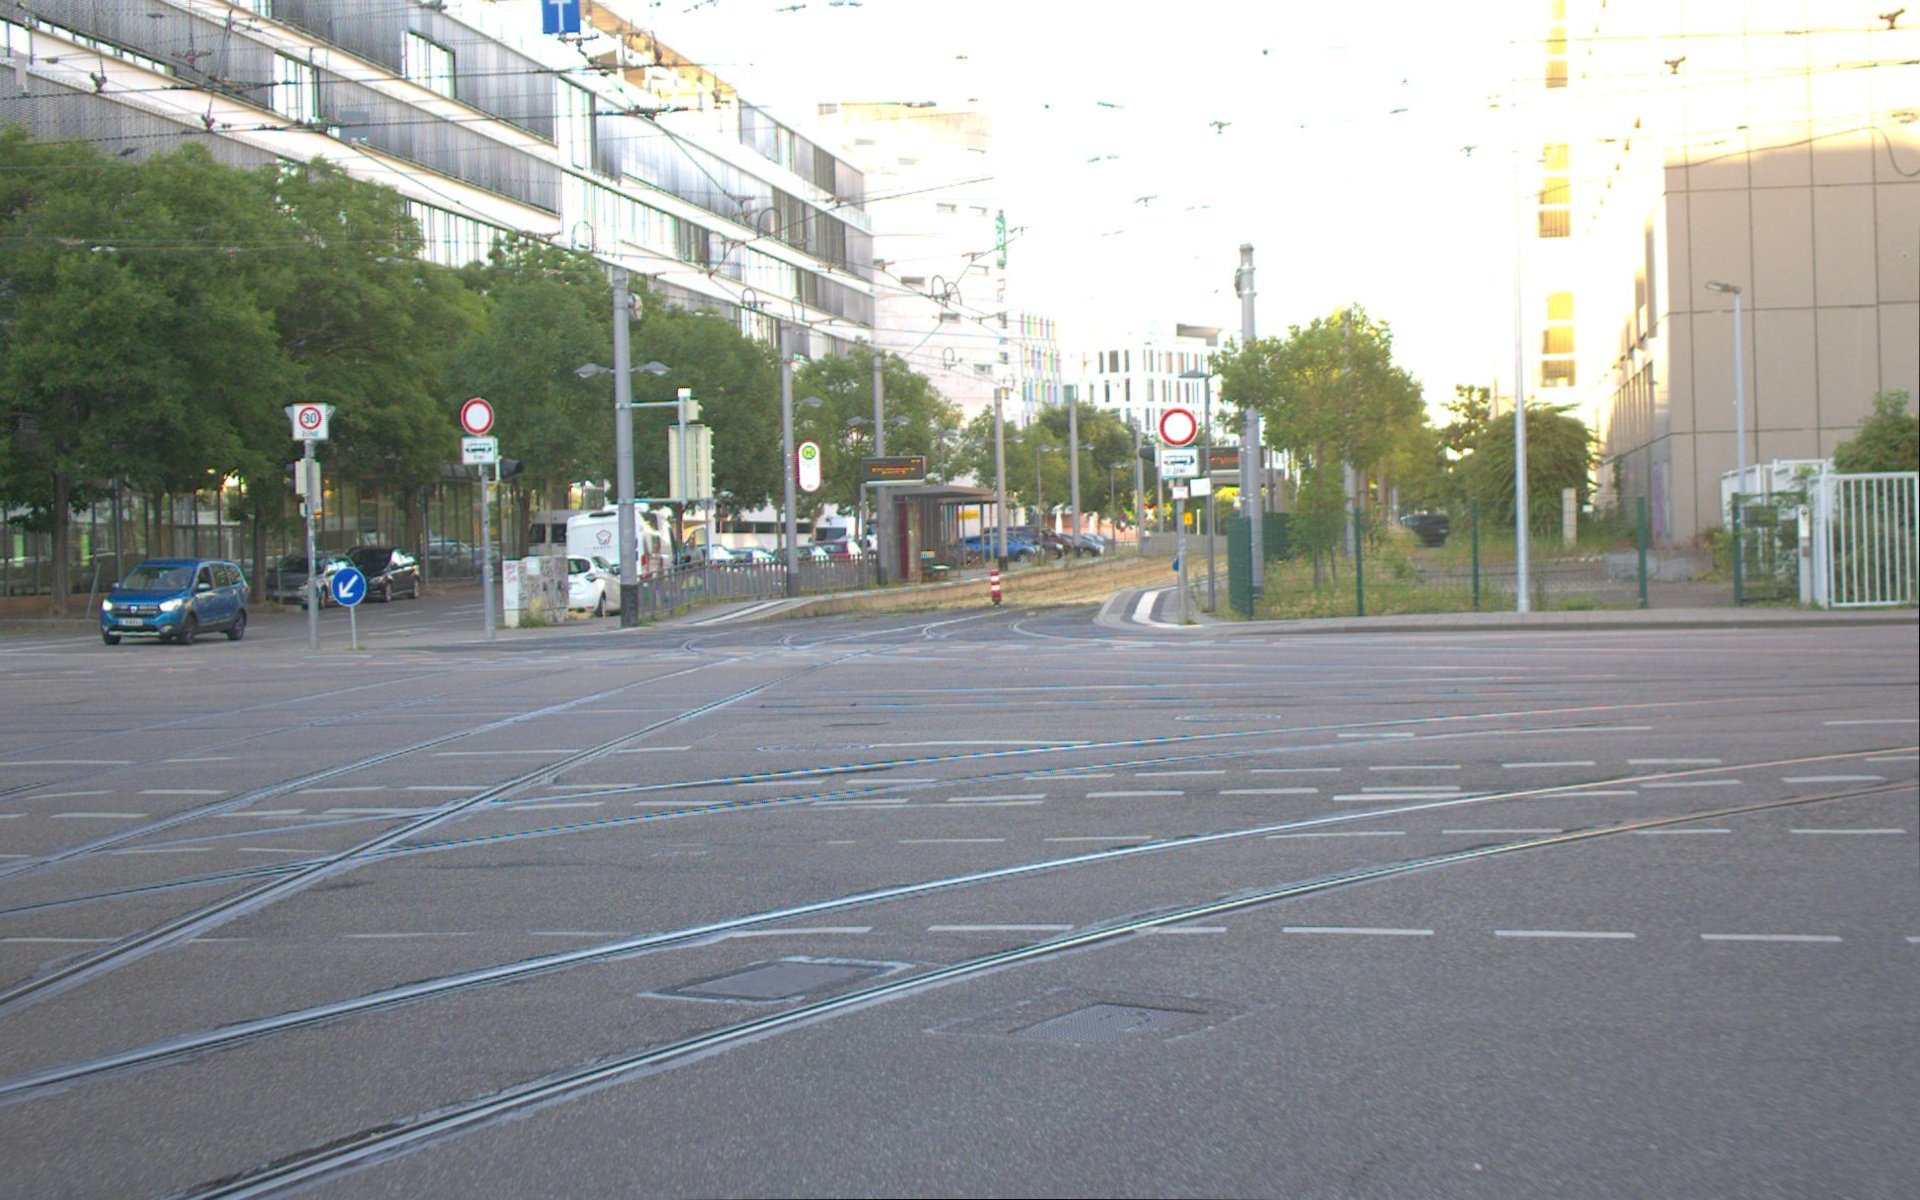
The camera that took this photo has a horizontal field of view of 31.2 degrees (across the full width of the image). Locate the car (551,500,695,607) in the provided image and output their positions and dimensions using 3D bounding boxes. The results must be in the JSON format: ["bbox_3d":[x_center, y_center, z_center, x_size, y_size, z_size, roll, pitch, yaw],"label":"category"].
[{"bbox_3d":[-8.143,-1.146,83.659,2.461,2.474,5.808,-1,1,4],"label":"car"}]

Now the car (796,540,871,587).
[{"bbox_3d":[-4.067,-1.186,110.845,1.683,1.434,4.125,-1,1,8],"label":"car"}]

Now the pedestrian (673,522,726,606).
[{"bbox_3d":[-6.407,-0.890,84.562,1.039,2.023,0.984,-2,1,-19],"label":"pedestrian"}]

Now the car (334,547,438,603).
[{"bbox_3d":[-16.477,-0.737,98.831,1.683,1.496,4.238,-1,1,9],"label":"car"}]

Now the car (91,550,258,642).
[{"bbox_3d":[-15.532,-0.102,68.176,1.683,1.694,4.237,-1,1,10],"label":"car"}]

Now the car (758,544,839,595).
[{"bbox_3d":[-4.807,-0.912,102.813,1.683,1.434,4.125,-1,1,8],"label":"car"}]

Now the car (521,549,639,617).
[{"bbox_3d":[-8.580,-0.407,77.925,1.683,1.434,4.125,-1,1,8],"label":"car"}]

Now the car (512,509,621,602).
[{"bbox_3d":[-13.747,-1.584,120.585,2.202,3.141,6.141,-1,1,9],"label":"car"}]

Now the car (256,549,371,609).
[{"bbox_3d":[-17.413,-0.587,92.769,1.683,1.496,4.238,-1,1,9],"label":"car"}]
